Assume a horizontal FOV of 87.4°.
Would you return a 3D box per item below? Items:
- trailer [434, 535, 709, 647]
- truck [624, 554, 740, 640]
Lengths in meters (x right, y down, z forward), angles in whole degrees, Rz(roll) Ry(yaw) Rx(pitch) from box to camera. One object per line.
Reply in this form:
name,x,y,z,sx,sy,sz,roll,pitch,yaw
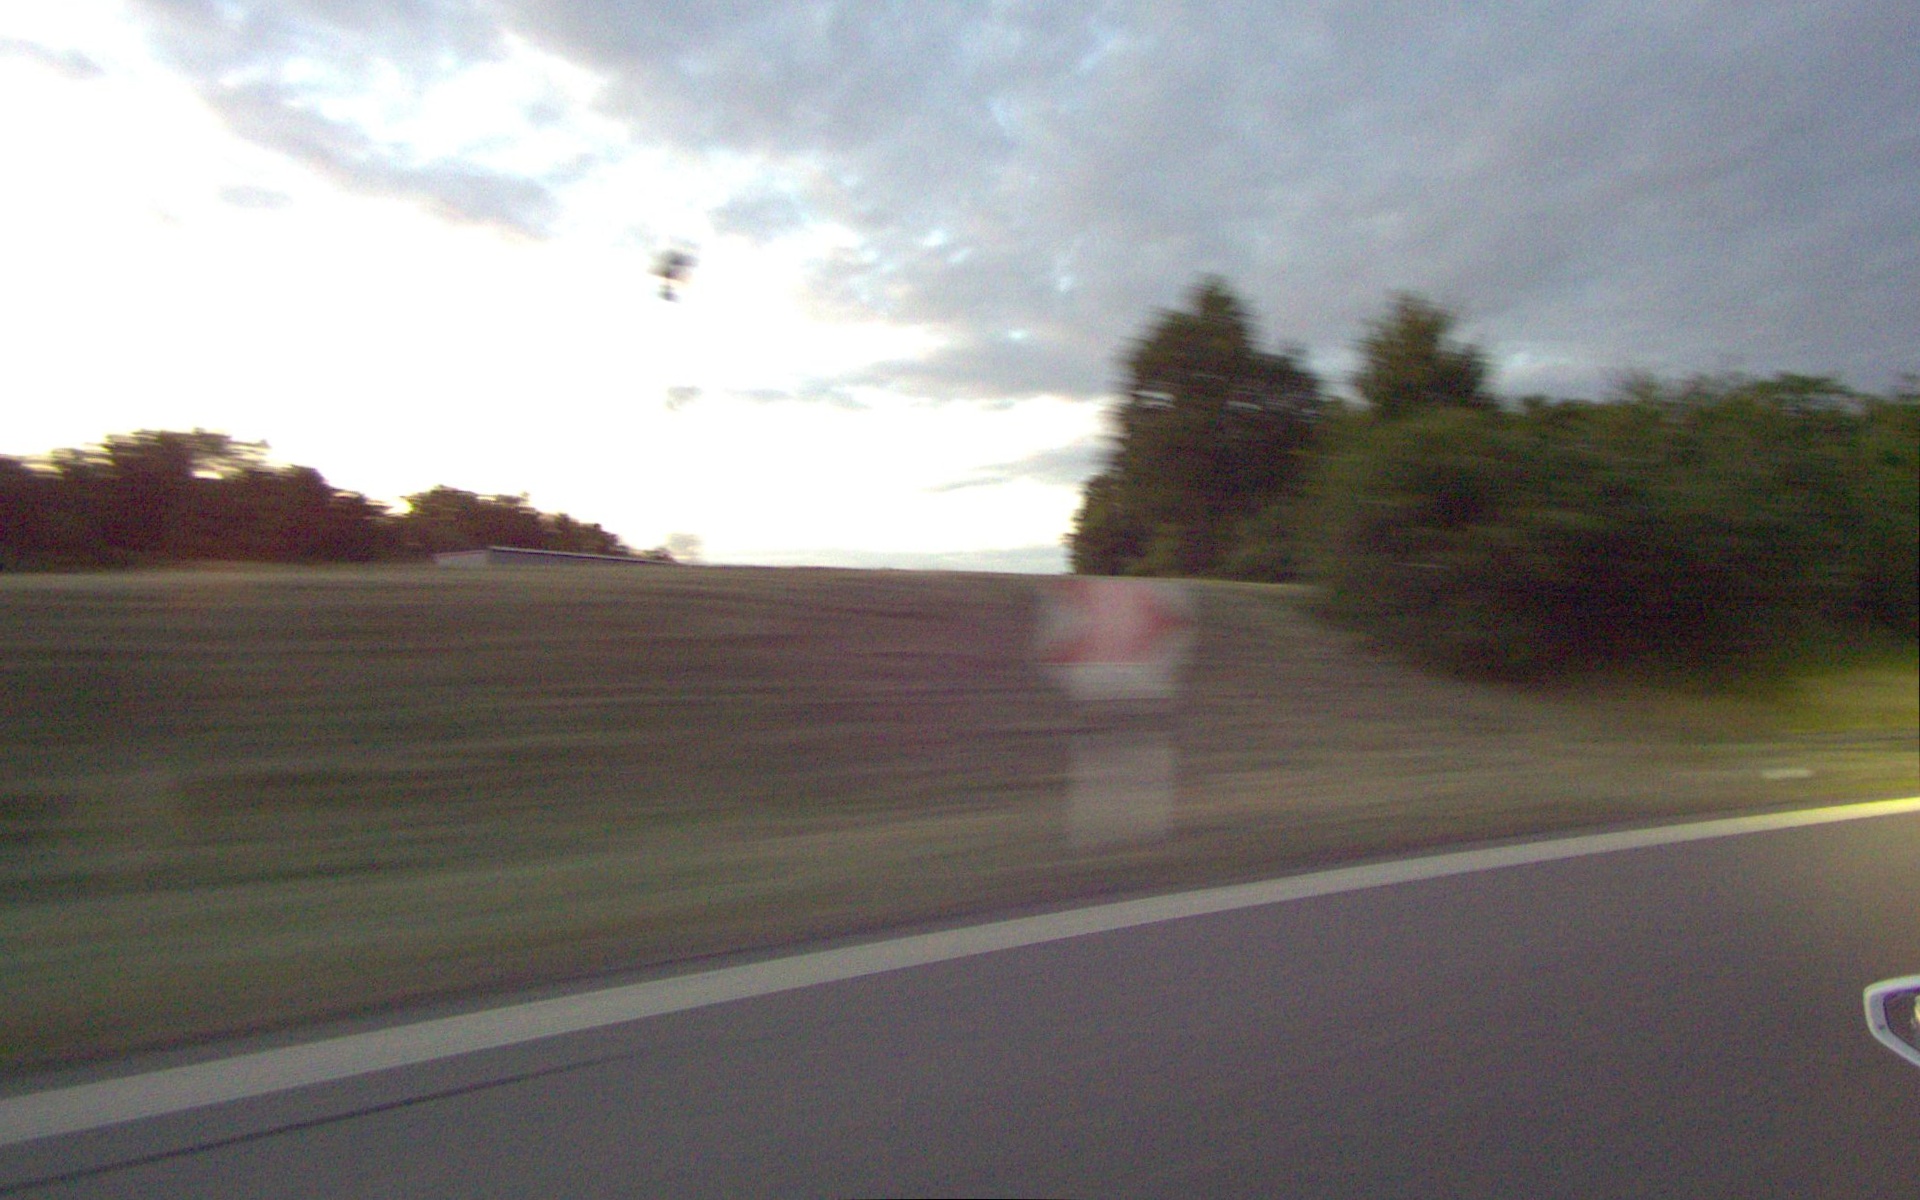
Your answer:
trailer,-16.152,-0.210,44.119,2.728,3.966,14.825,-4,-2,16
truck,-14.070,-0.096,51.421,2.733,3.953,6.157,-4,-2,16
